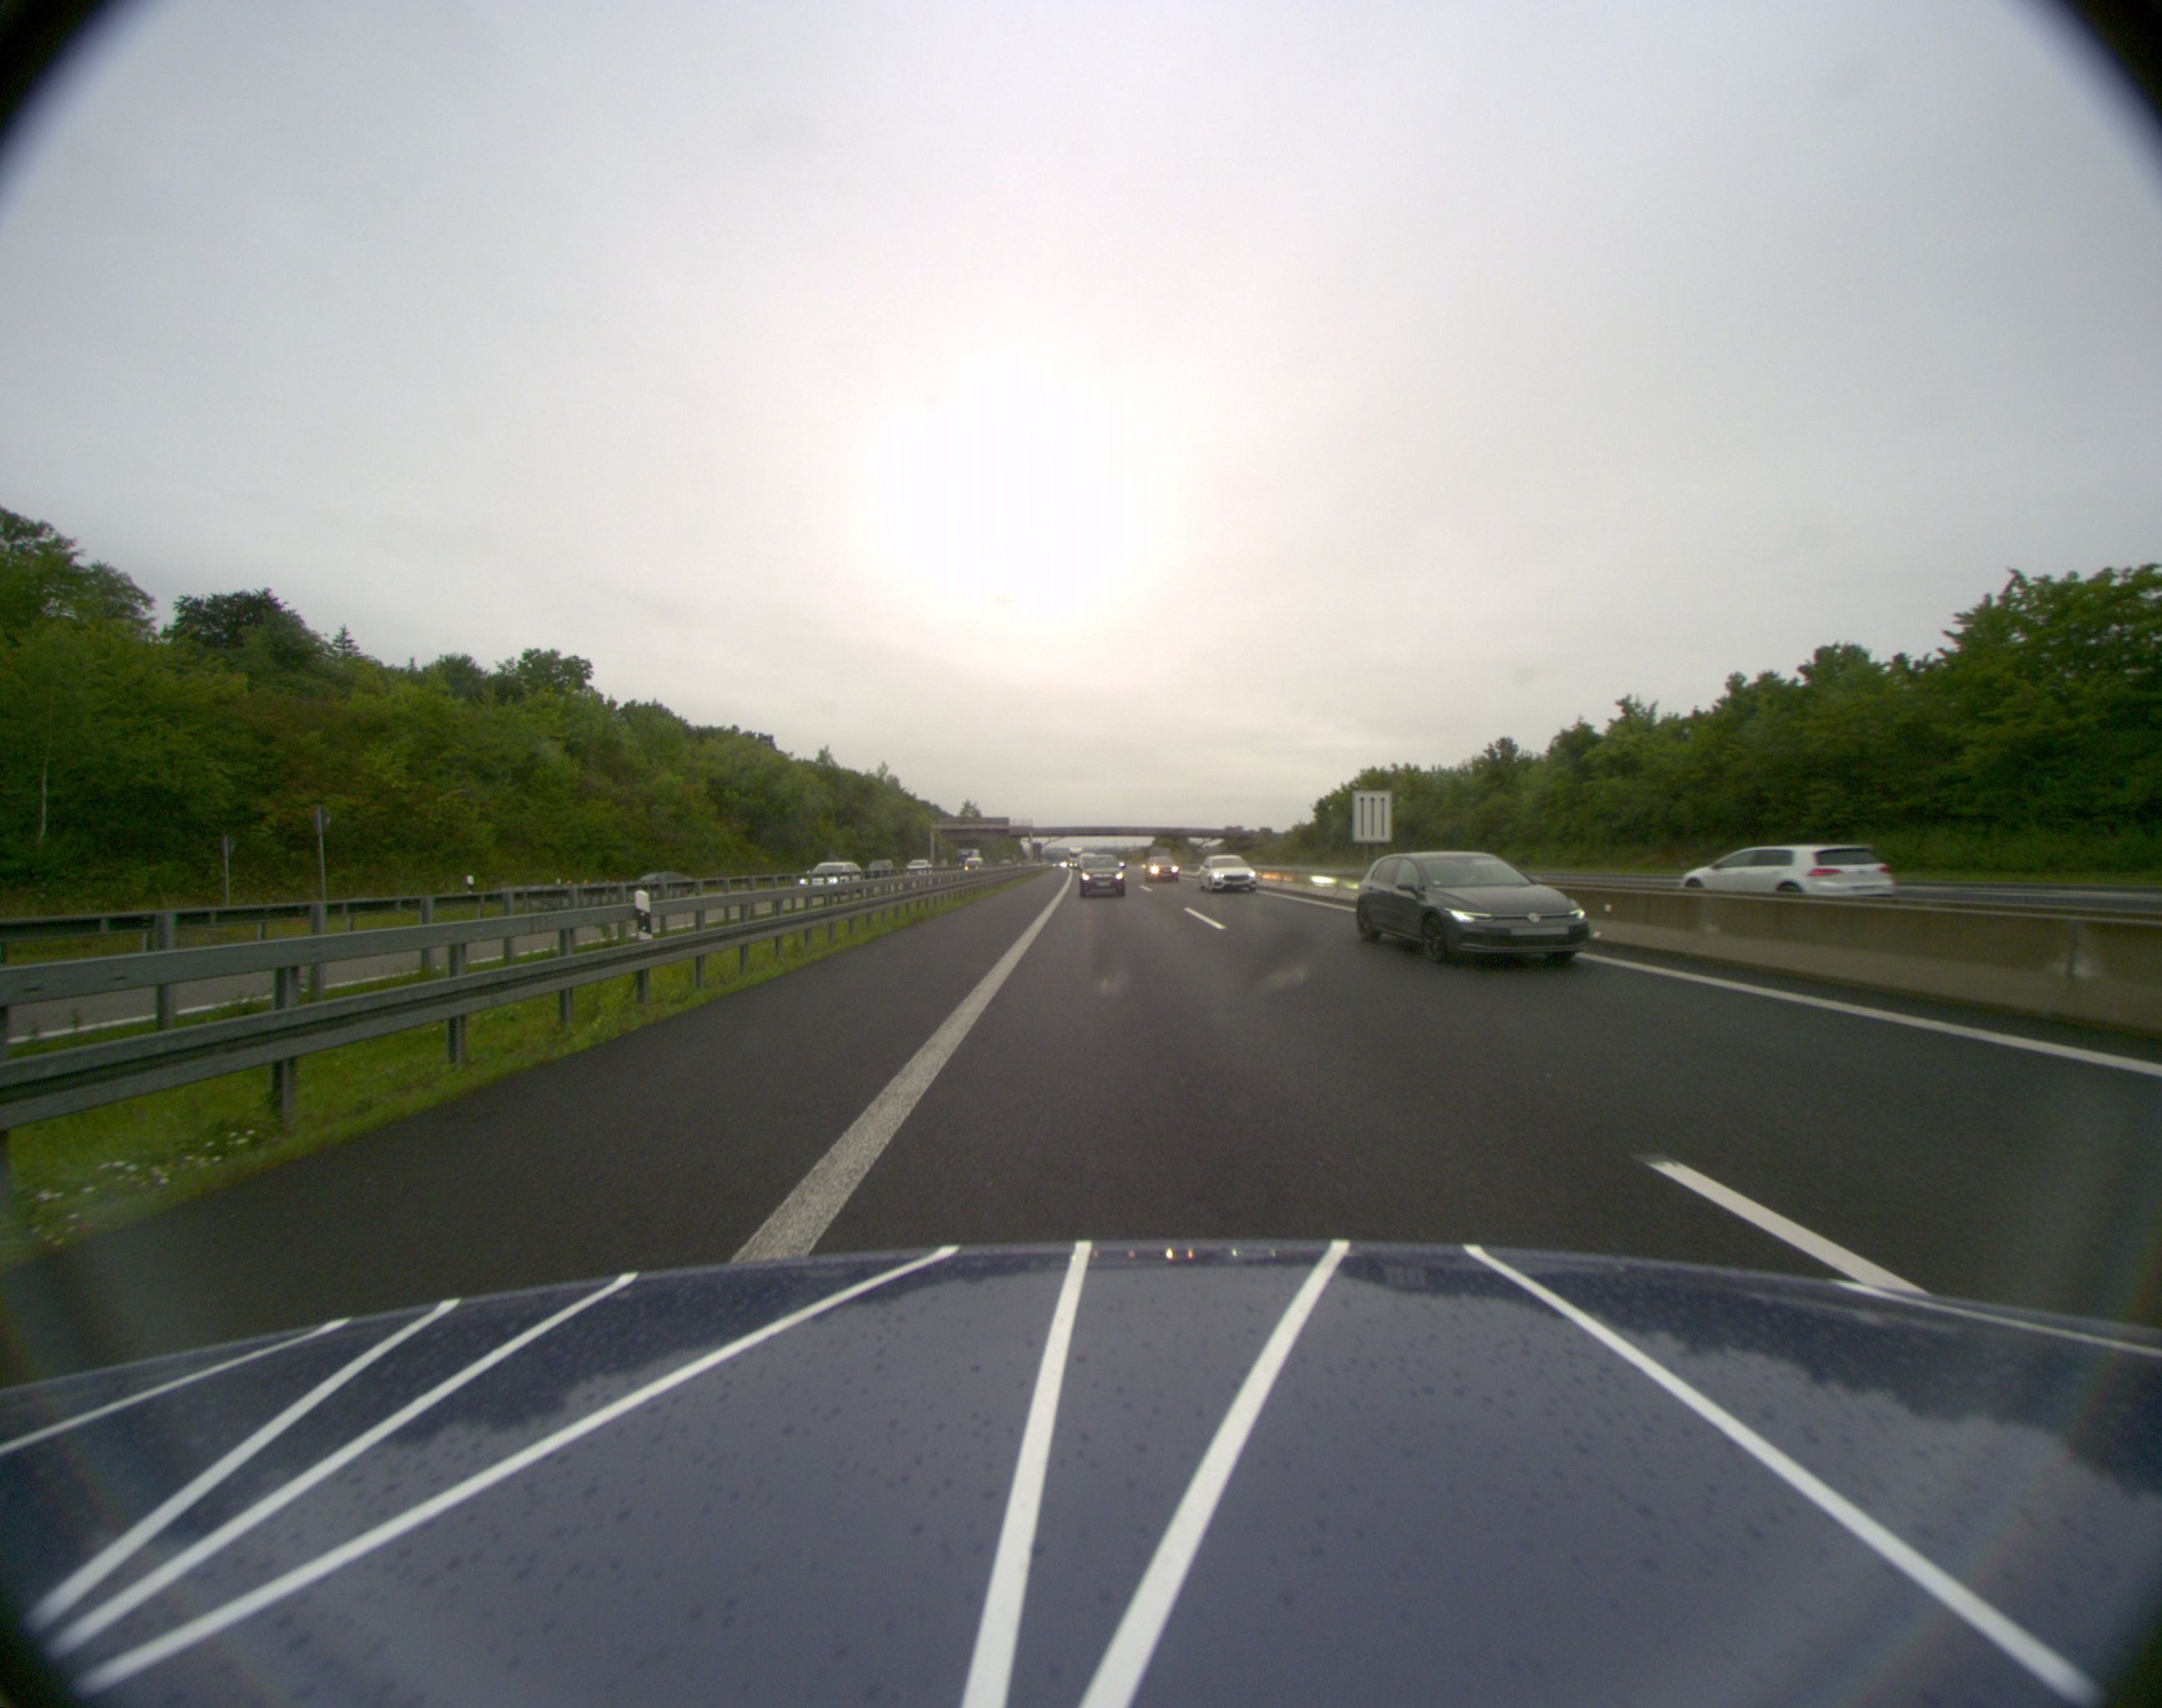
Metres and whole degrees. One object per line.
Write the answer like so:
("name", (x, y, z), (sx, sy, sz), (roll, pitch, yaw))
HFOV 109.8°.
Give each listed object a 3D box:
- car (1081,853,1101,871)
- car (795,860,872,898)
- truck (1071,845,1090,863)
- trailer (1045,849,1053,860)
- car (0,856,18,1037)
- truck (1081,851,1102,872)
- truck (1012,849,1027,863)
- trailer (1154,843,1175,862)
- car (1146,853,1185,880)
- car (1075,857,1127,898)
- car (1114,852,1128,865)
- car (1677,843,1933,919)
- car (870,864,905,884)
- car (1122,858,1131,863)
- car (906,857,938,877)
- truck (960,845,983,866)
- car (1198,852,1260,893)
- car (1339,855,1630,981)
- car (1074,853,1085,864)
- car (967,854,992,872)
("car", (1.041, 0.804, 77.846), (1.825, 1.669, 4.001), (-2, 0, 3))
("car", (-11.397, 1.092, 35.311), (2.013, 1.539, 4.695), (-1, 0, 0))
("truck", (-0.160, -0.112, 150.675), (3.154, 3.332, 13.096), (-2, 0, -3))
("trailer", (-11.177, 0.212, 265.438), (2.547, 3.799, 11.329), (-1, 0, 0))
("car", (-11.640, 0.953, 5.295), (1.864, 1.794, 4.647), (-1, 0, 0))
("truck", (1.137, 0.853, 84.813), (2.175, 2.214, 5.641), (-1, 0, -1))
("truck", (-16.014, 0.410, 198.665), (2.909, 3.397, 13.350), (-2, 0, -2))
("trailer", (19.158, -0.391, 175.962), (3.268, 4.059, 13.844), (-1, 0, 0))
("car", (5.009, 0.707, 45.649), (1.905, 1.497, 4.114), (-1, 0, 1))
("car", (0.857, 0.886, 30.899), (1.905, 1.497, 4.115), (-1, 0, 3))
("car", (5.584, 0.577, 106.855), (1.715, 1.724, 4.000), (-2, 0, 1))
("car", (16.349, 0.548, 17.524), (1.987, 1.497, 4.140), (-1, 0, 1))
("car", (-18.471, 1.909, 72.786), (1.998, 1.725, 4.642), (-2, 0, 1))
("car", (11.741, 1.683, 195.894), (1.905, 1.397, 4.379), (-1, 0, 1))
("car", (-14.375, 1.158, 68.855), (1.901, 1.603, 4.145), (-1, 0, 0))
("truck", (-18.483, 0.247, 128.823), (2.909, 3.397, 9.279), (-2, 0, -3))
("car", (5.993, 0.704, 31.200), (1.905, 1.497, 4.115), (-1, 0, 3))
("car", (5.446, 0.748, 11.052), (1.905, 1.397, 4.459), (-1, 0, 1))
("car", (-0.170, 0.706, 123.277), (1.715, 1.724, 4.000), (-2, 0, 1))
("car", (-10.550, 0.929, 79.226), (2.013, 1.804, 4.276), (-1, 0, 0))
